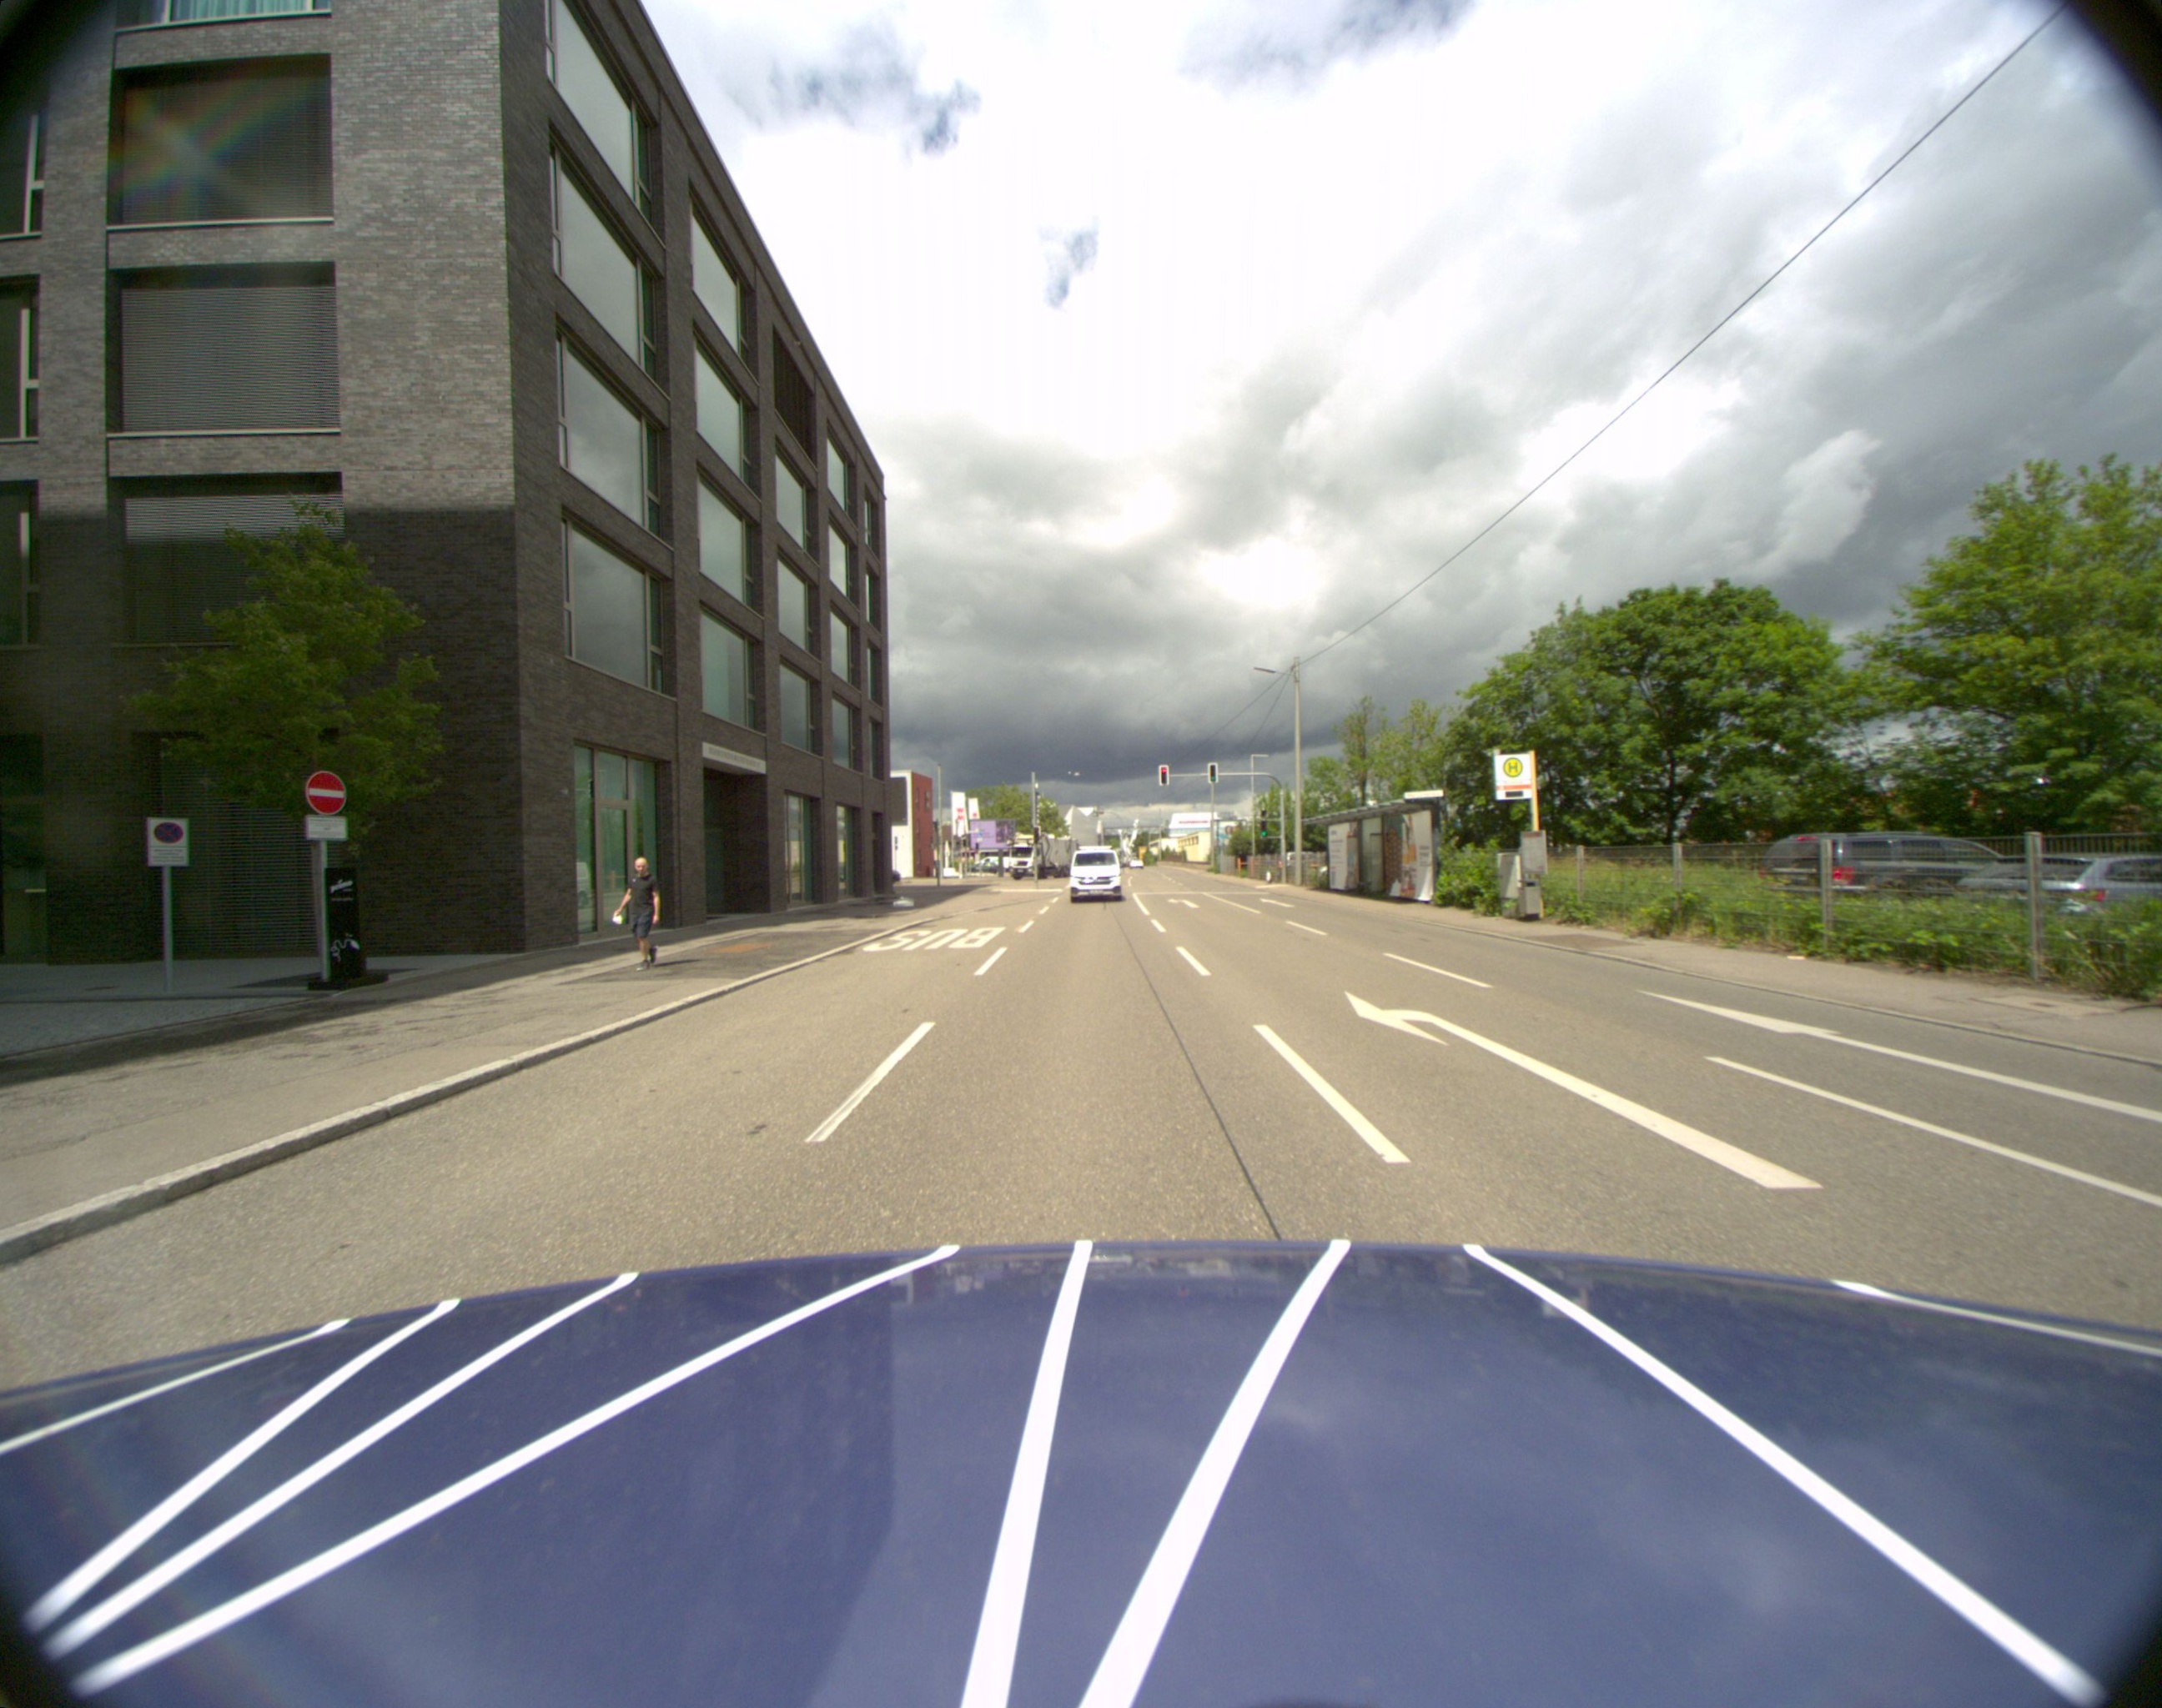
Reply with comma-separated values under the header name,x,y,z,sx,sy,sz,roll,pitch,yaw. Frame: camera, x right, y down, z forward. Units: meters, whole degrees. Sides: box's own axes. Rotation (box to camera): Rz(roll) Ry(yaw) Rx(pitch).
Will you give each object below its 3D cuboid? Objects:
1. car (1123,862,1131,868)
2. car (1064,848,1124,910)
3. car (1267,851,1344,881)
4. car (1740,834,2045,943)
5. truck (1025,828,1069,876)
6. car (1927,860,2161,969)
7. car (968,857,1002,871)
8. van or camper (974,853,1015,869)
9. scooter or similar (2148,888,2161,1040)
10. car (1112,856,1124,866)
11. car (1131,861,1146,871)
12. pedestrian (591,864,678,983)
name,x,y,z,sx,sy,sz,roll,pitch,yaw
car,12.620,2.924,208.662,1.860,1.608,4.001,-2,-1,2
car,0.545,0.825,27.525,1.935,2.078,4.209,-1,0,4
car,13.716,0.730,46.548,4.114,1.724,1.999,-1,0,-3
car,16.533,0.633,15.639,4.289,2.002,2.139,-1,1,-6
truck,-2.872,-0.228,67.380,2.836,3.889,10.367,-1,0,3
car,16.562,0.884,12.182,4.290,1.478,1.909,-1,1,-7
car,-11.321,1.137,90.159,3.675,1.477,1.762,3,1,4
van or camper,-11.147,0.908,98.163,4.909,1.946,2.212,1,1,2
scooter or similar,8.995,0.914,5.588,0.535,1.255,1.473,-3,0,18
car,6.582,1.275,134.744,1.870,1.781,4.208,-1,0,1
car,8.130,1.658,107.444,1.801,1.368,4.225,0,0,1
pedestrian,-6.796,1.028,11.616,0.685,1.717,0.962,-2,0,1
